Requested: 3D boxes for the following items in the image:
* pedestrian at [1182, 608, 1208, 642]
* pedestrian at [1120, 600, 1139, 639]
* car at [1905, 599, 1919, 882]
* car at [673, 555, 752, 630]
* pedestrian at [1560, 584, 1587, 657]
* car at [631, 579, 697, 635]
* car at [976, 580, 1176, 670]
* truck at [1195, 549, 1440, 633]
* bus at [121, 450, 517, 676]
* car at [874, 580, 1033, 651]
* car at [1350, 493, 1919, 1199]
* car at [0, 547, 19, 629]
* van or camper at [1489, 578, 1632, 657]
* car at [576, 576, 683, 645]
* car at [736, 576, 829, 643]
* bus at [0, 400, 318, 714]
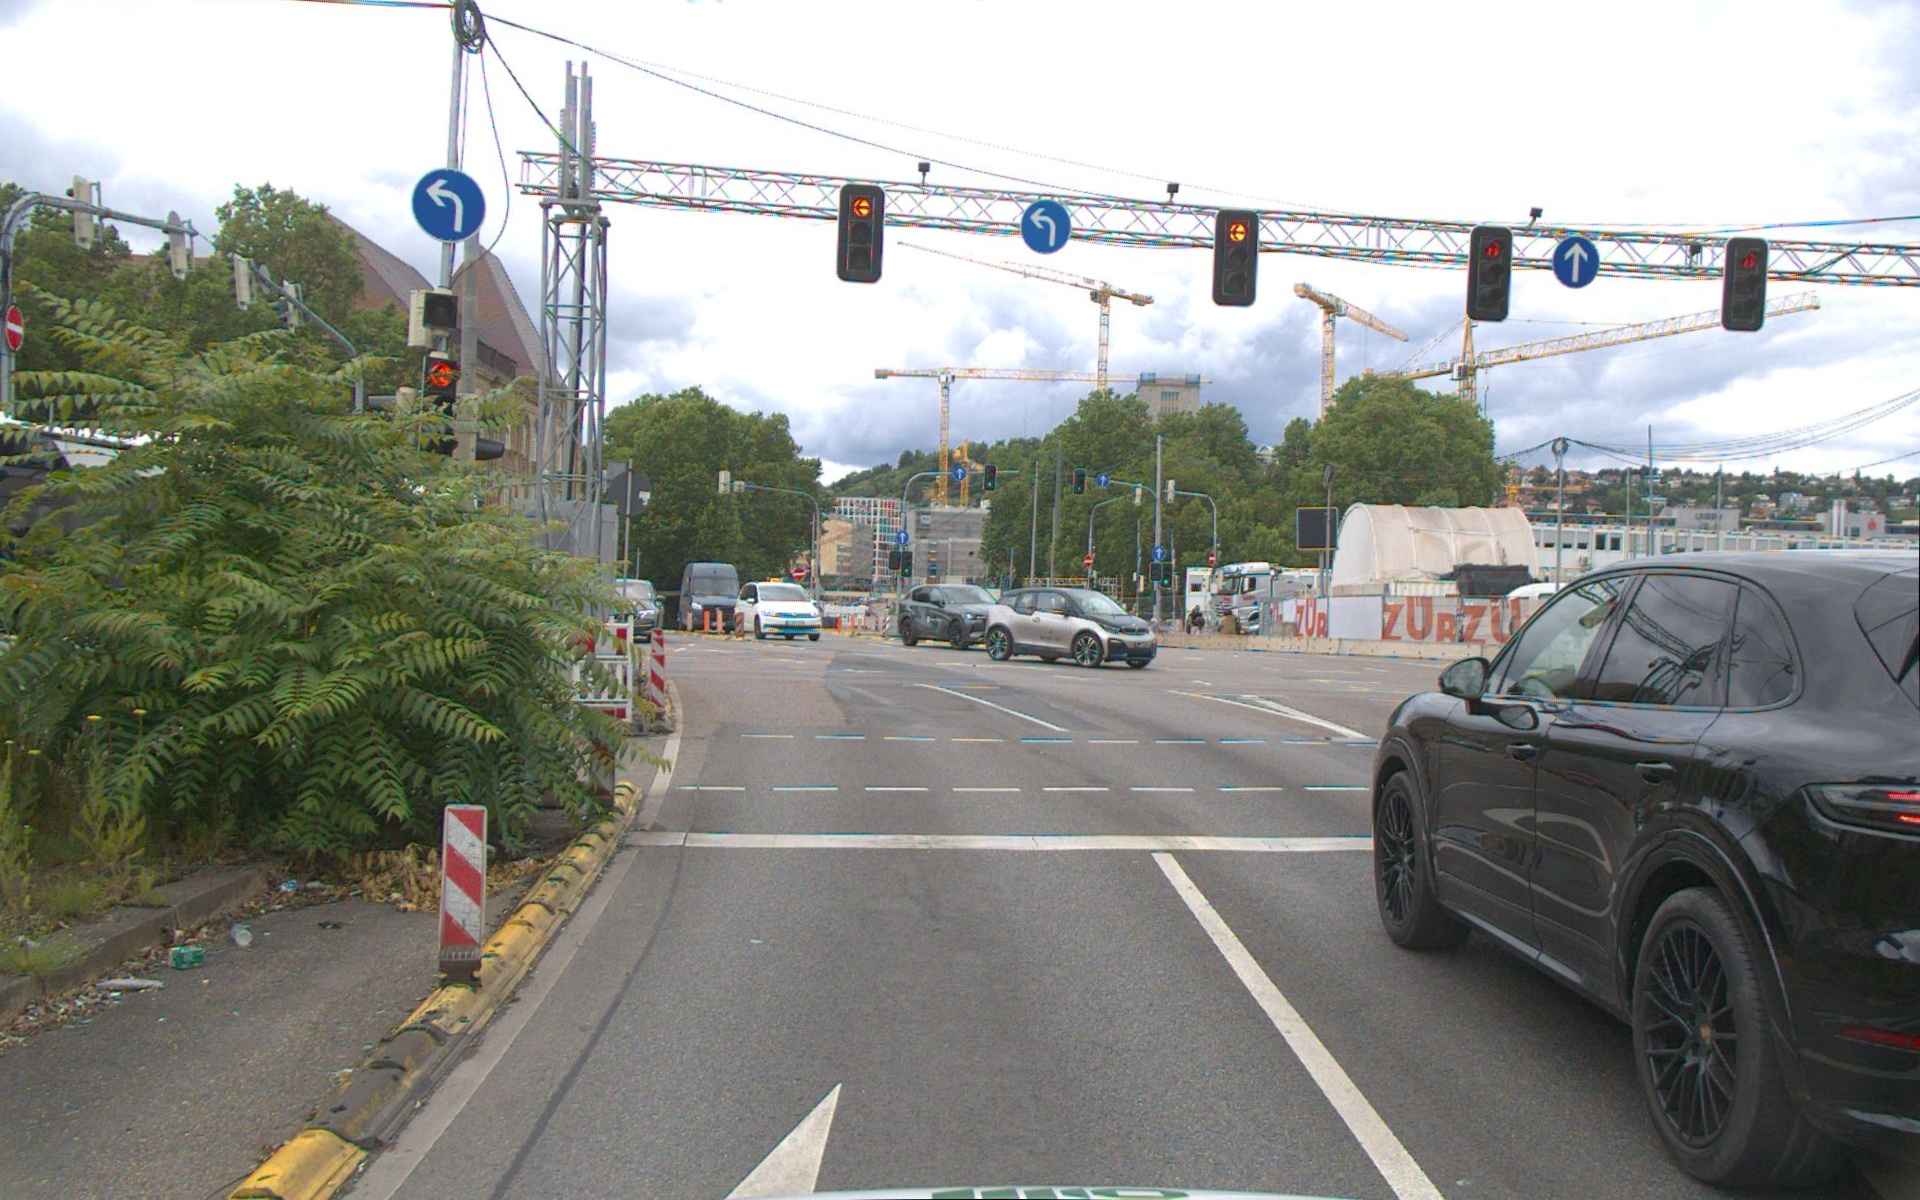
[{"bbox_3d":[9.751,1.037,68.639,0.782,1.402,0.902,2,0,-11],"label":"pedestrian"},{"bbox_3d":[7.538,0.865,73.463,0.715,1.718,0.677,2,0,-2],"label":"pedestrian"},{"bbox_3d":[6.198,0.820,7.415,1.629,1.570,3.881,2,0,-1],"label":"car"},{"bbox_3d":[-9.297,-0.304,61.712,2.024,2.639,5.986,2,0,-17],"label":"car"},{"bbox_3d":[17.512,0.570,47.217,0.638,2.049,0.517,1,0,23],"label":"pedestrian"},{"bbox_3d":[-9.708,0.186,54.057,1.846,1.699,4.429,2,1,-14],"label":"car"},{"bbox_3d":[2.380,0.495,34.597,1.787,1.697,4.000,2,0,-44],"label":"car"},{"bbox_3d":[19.168,-0.449,88.521,12.843,4.111,3.925,1,0,-22],"label":"truck"},{"bbox_3d":[-10.440,-0.560,28.326,2.786,3.168,9.125,2,0,3],"label":"bus"},{"bbox_3d":[-0.223,0.379,43.737,1.864,1.699,4.550,1,1,-36],"label":"car"},{"bbox_3d":[2.893,0.647,5.666,1.915,1.715,4.634,2,0,-1],"label":"car"},{"bbox_3d":[-22.151,-0.313,34.221,4.241,1.705,1.992,2,0,-16],"label":"car"},{"bbox_3d":[19.582,0.546,54.083,4.123,2.398,2.002,2,0,13],"label":"van or camper"},{"bbox_3d":[-7.883,0.214,39.796,1.840,1.498,4.442,2,1,-3],"label":"car"},{"bbox_3d":[-5.142,0.228,47.401,1.848,1.766,4.424,2,1,-17],"label":"car"},{"bbox_3d":[-10.921,-0.479,18.861,2.786,3.168,9.753,2,0,4],"label":"bus"}]
